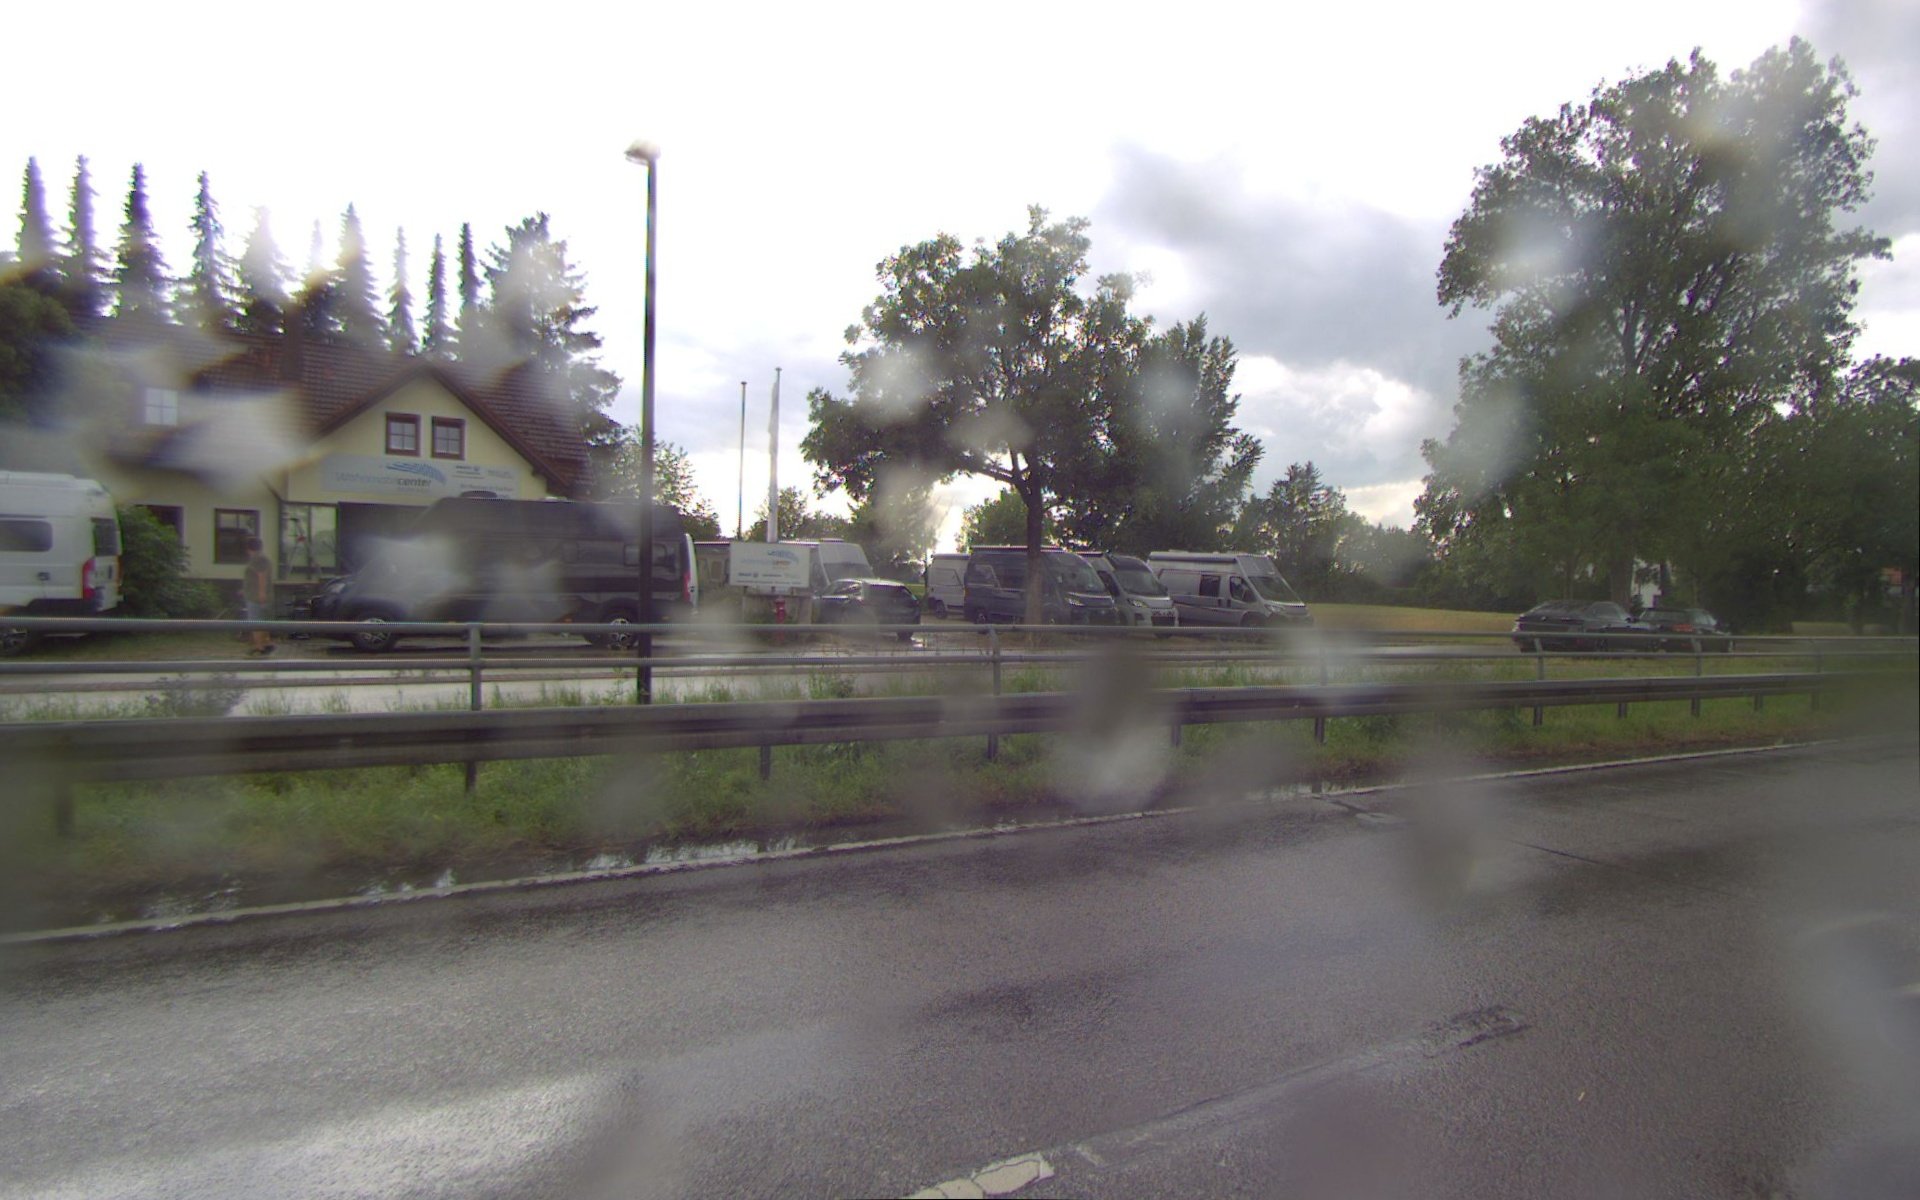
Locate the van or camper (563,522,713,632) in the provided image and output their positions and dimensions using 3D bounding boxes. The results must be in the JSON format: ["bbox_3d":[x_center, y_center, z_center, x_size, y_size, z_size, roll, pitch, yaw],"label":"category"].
[{"bbox_3d":[-8.935,-0.643,27.386,2.533,2.626,6.190,1,2,-31],"label":"van or camper"}]

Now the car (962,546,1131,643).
[{"bbox_3d":[2.365,-0.217,28.871,1.980,2.535,5.148,1,2,-34],"label":"car"}]

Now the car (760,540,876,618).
[{"bbox_3d":[-5.289,-0.792,36.480,2.066,2.573,6.063,1,1,-29],"label":"car"}]

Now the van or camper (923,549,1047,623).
[{"bbox_3d":[0.841,-0.590,39.001,1.977,2.625,5.774,1,2,-31],"label":"van or camper"}]

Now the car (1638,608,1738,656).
[{"bbox_3d":[22.540,0.969,31.072,3.858,1.349,1.274,1,1,-35],"label":"car"}]

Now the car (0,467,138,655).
[{"bbox_3d":[-15.502,-0.613,14.006,5.951,2.615,2.225,1,2,-32],"label":"car"}]

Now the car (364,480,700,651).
[{"bbox_3d":[-8.011,-0.558,18.953,5.512,2.800,2.369,1,2,-33],"label":"car"}]

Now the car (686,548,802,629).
[{"bbox_3d":[-7.375,-0.430,33.753,2.066,2.449,6.063,1,1,-29],"label":"car"}]

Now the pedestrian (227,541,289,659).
[{"bbox_3d":[-10.613,0.001,15.193,0.641,1.733,0.514,1,1,-22],"label":"pedestrian"}]

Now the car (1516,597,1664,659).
[{"bbox_3d":[17.237,0.738,27.369,5.070,1.511,1.505,1,2,-35],"label":"car"}]

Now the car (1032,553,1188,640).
[{"bbox_3d":[4.576,-0.179,31.453,1.978,2.492,5.063,1,2,-32],"label":"car"}]

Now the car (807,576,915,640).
[{"bbox_3d":[-2.711,0.174,26.787,1.521,1.516,3.868,1,2,-28],"label":"car"}]

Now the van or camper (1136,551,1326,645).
[{"bbox_3d":[8.471,-0.160,32.012,2.060,2.713,5.836,1,2,-34],"label":"van or camper"}]
